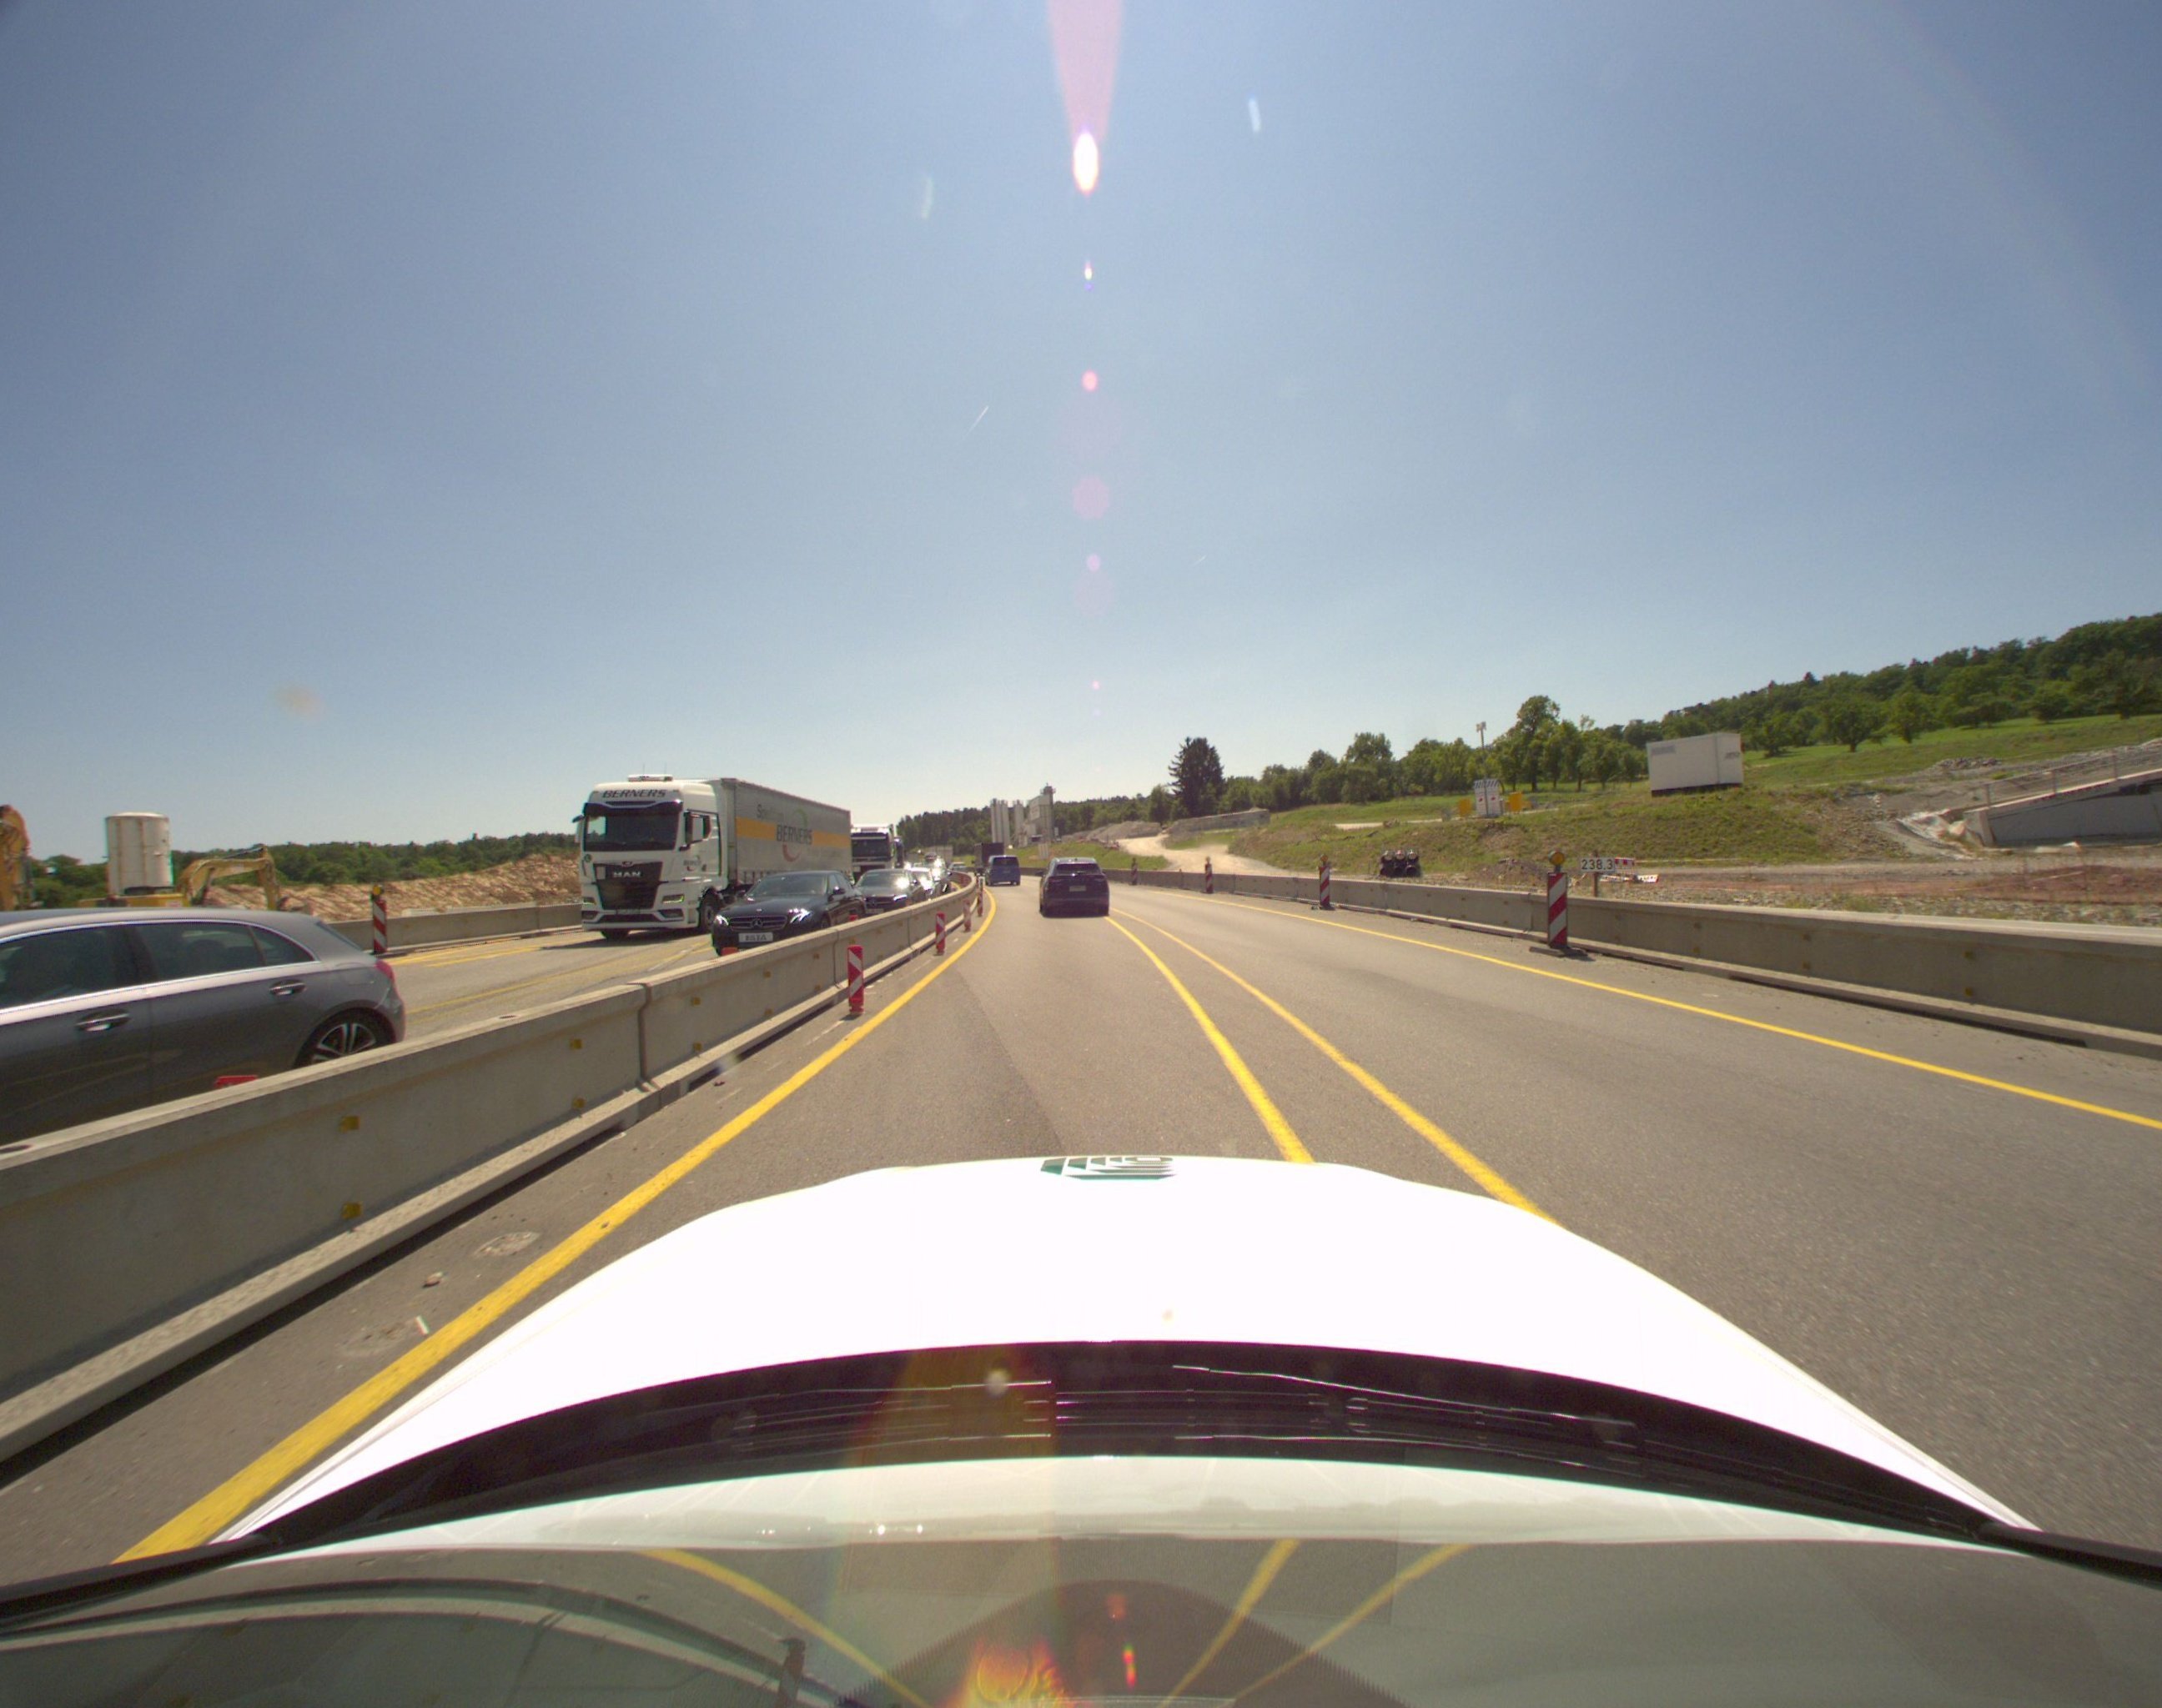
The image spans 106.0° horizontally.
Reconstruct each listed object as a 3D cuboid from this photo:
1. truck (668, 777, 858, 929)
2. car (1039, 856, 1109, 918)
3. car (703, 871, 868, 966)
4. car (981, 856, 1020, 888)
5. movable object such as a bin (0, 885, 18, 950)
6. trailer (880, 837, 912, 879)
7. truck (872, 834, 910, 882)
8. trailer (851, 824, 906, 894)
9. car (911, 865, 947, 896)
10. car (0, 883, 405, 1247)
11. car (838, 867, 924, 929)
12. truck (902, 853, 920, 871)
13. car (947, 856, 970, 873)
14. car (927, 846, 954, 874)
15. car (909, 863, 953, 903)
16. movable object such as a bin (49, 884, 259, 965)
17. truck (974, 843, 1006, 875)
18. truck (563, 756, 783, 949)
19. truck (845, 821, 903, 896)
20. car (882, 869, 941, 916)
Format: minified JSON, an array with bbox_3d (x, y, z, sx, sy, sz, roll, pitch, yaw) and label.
[{"bbox_3d":[-10.860,-0.040,29.618,2.768,4.277,11.764,-3,0,-4],"label":"truck"},{"bbox_3d":[-0.259,0.895,23.848,1.838,1.582,3.996,-2,0,-3],"label":"car"},{"bbox_3d":[-5.391,1.102,15.464,1.722,1.408,4.125,-2,0,-3],"label":"car"},{"bbox_3d":[-5.124,1.079,51.595,1.995,1.844,3.984,-3,0,-11],"label":"car"},{"bbox_3d":[-53.928,3.148,39.159,2.005,3.126,3.722,0,0,-28],"label":"movable object such as a bin"},{"bbox_3d":[-19.805,0.440,87.774,2.737,4.137,8.157,-3,0,-10],"label":"trailer"},{"bbox_3d":[-18.202,0.367,78.467,2.773,4.137,10.832,-3,0,-10],"label":"truck"},{"bbox_3d":[-13.086,0.317,53.477,2.706,3.977,11.200,-3,0,-11],"label":"trailer"},{"bbox_3d":[-8.028,1.362,43.295,1.735,1.416,4.781,-2,0,-9],"label":"car"},{"bbox_3d":[-5.701,1.013,3.998,1.505,1.604,3.950,-2,-1,-1],"label":"car"},{"bbox_3d":[-5.540,1.160,23.060,1.653,1.453,4.241,-2,0,-5],"label":"car"},{"bbox_3d":[-41.300,1.840,197.695,3.482,4.220,10.323,-1,0,-15],"label":"truck"},{"bbox_3d":[-12.458,1.100,82.557,2.046,1.526,5.047,-4,0,-10],"label":"car"},{"bbox_3d":[-22.146,0.927,127.981,3.442,4.101,9.151,0,0,-14],"label":"car"},{"bbox_3d":[-6.601,1.237,36.151,1.677,1.544,4.107,-1,1,-8],"label":"car"},{"bbox_3d":[-45.389,3.312,40.270,3.847,3.049,5.988,-5,2,-13],"label":"movable object such as a bin"},{"bbox_3d":[-9.342,0.541,83.412,2.674,2.945,5.599,-4,0,-11],"label":"truck"},{"bbox_3d":[-10.416,-0.056,21.656,2.765,4.259,6.192,-3,0,-3],"label":"truck"},{"bbox_3d":[-12.034,0.264,47.905,2.701,3.969,6.176,-3,0,-10],"label":"truck"},{"bbox_3d":[-6.048,1.337,29.448,1.676,1.444,4.542,-2,0,-7],"label":"car"}]
